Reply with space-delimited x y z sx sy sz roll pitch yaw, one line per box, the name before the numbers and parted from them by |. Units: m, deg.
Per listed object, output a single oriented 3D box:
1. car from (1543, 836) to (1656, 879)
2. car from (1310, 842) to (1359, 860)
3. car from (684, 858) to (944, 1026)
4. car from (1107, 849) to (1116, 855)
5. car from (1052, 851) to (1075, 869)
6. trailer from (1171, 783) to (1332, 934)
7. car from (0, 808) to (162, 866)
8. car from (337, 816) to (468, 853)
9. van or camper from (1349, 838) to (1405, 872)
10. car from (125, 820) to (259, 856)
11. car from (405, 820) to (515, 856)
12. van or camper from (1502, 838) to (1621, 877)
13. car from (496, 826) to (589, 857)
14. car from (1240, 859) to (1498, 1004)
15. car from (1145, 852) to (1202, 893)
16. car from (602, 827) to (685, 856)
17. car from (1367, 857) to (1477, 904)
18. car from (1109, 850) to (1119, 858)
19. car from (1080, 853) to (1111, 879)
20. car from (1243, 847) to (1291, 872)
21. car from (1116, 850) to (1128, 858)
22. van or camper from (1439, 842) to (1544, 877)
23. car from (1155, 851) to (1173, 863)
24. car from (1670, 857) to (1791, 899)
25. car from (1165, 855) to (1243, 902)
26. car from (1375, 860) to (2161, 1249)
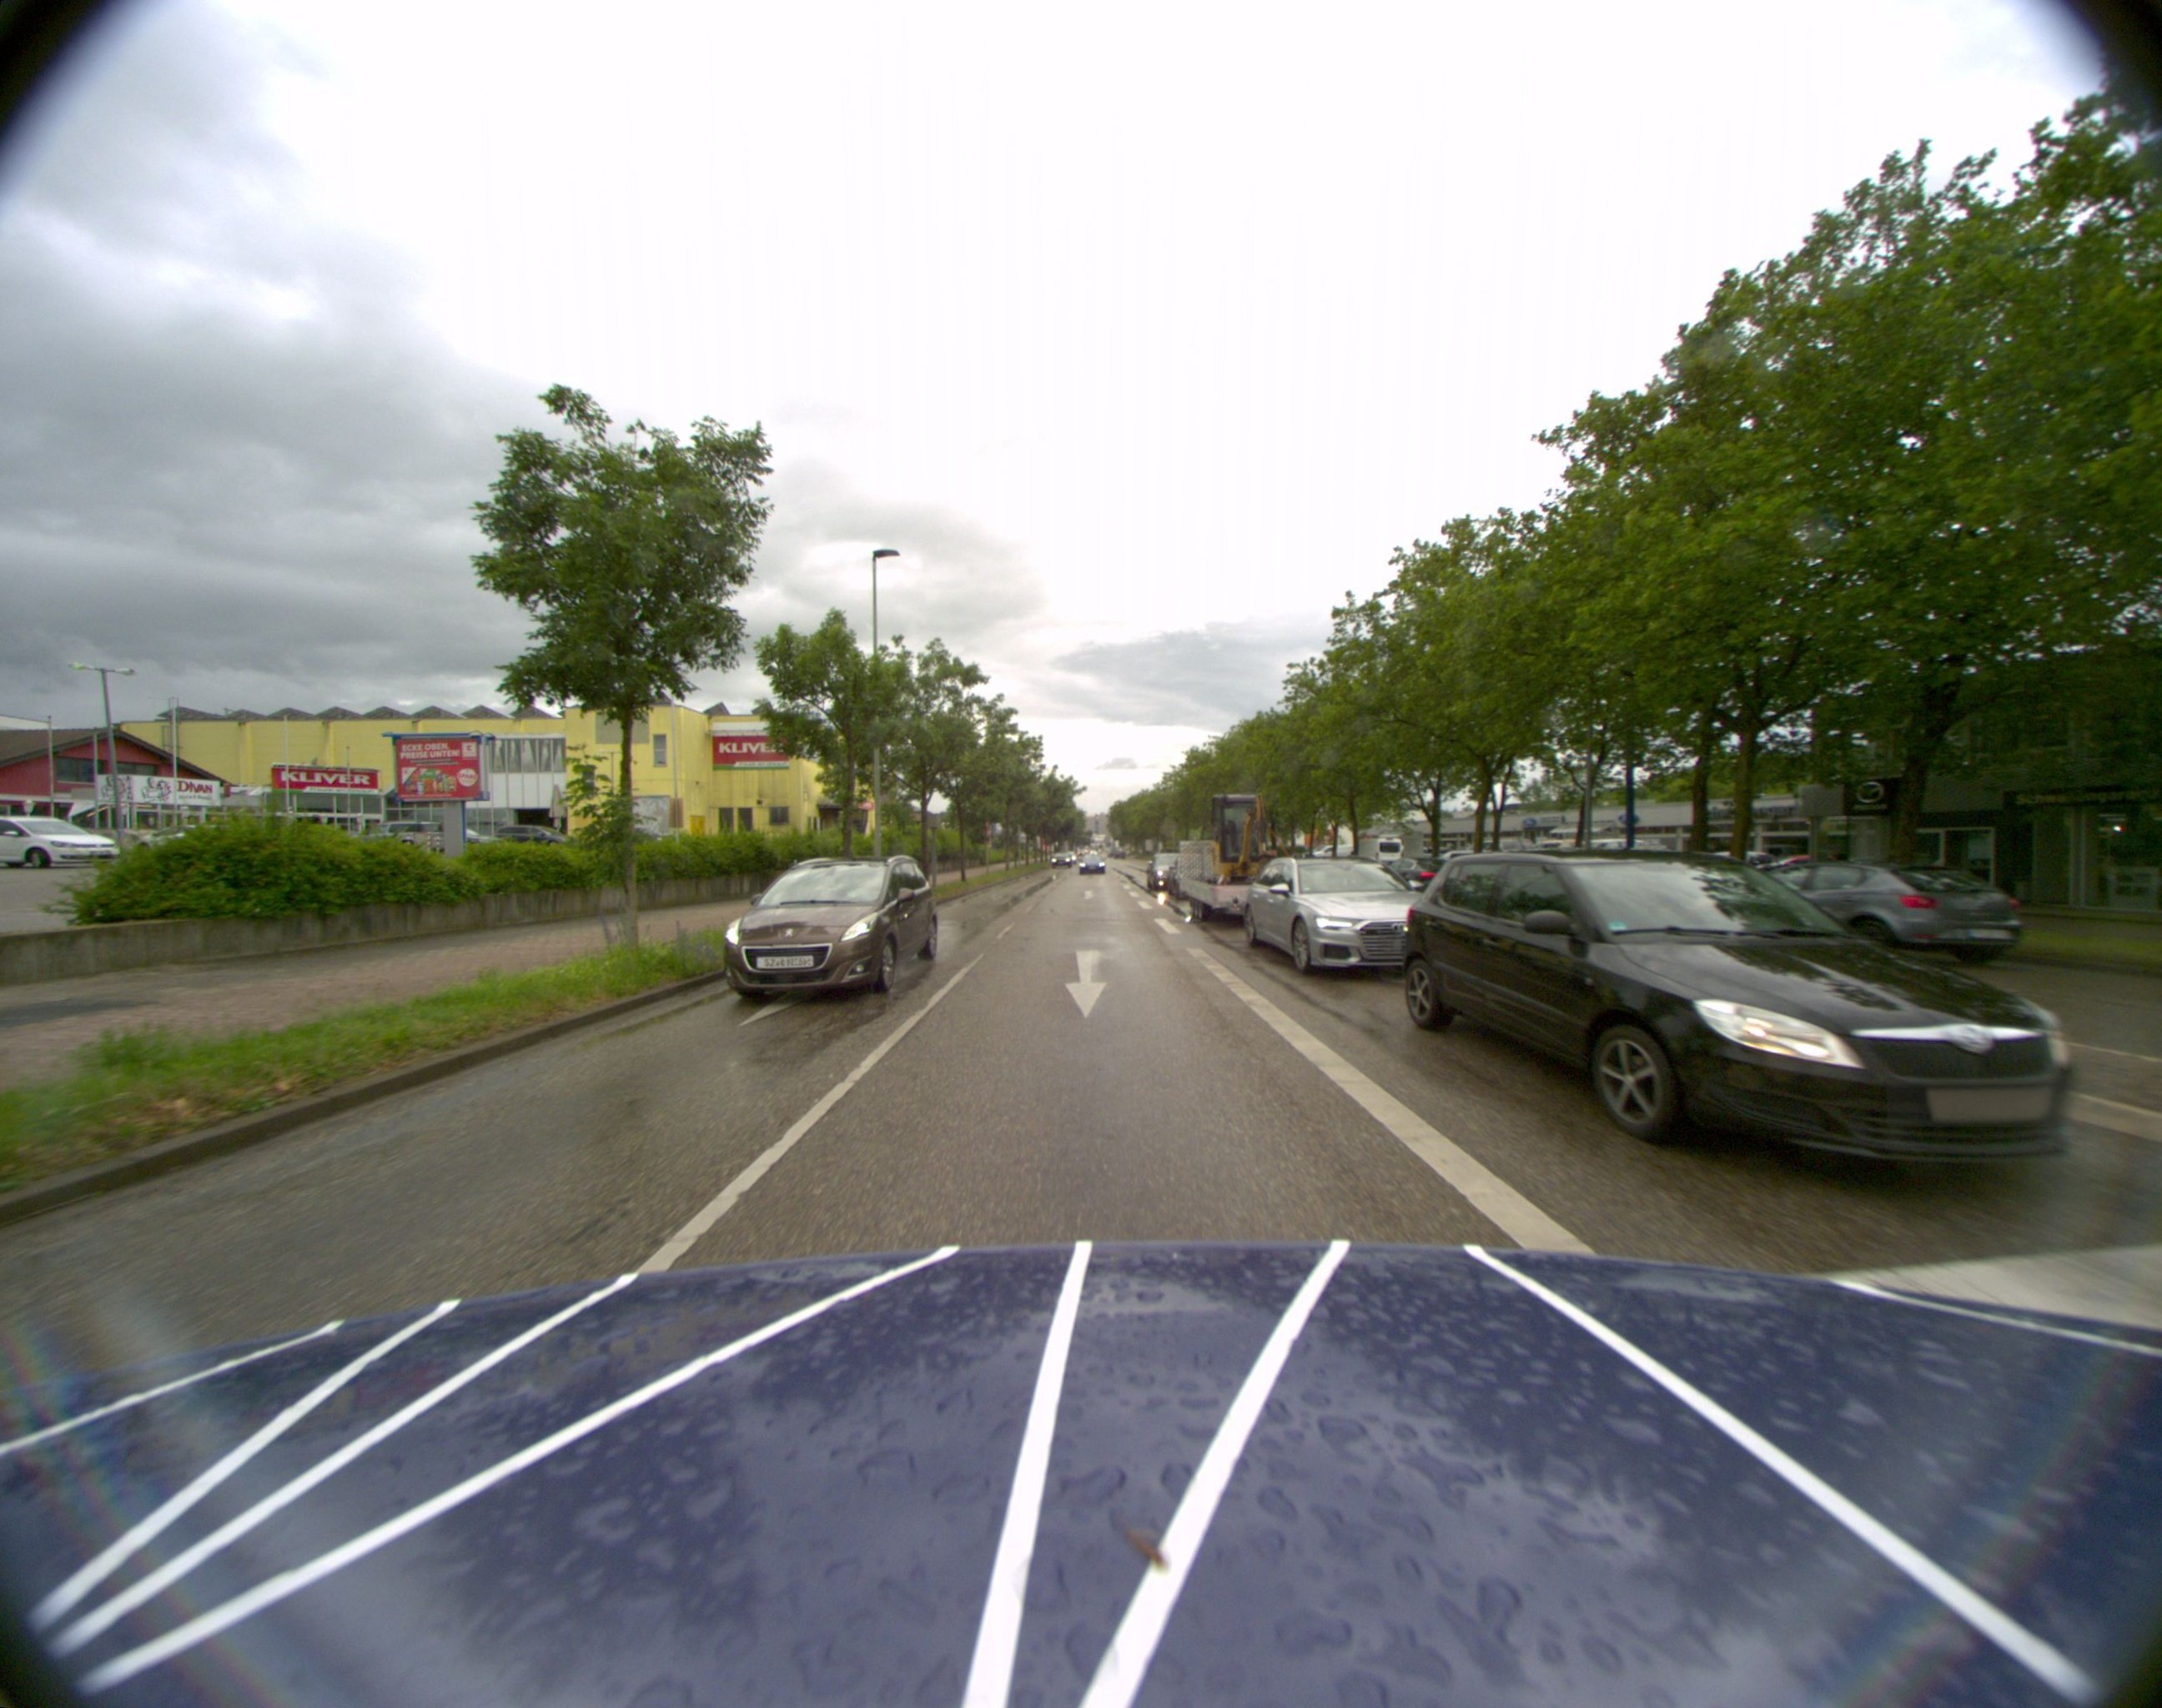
car | 23.137 0.140 33.920 4.473 1.805 1.996 -1 1 -22
car | 30.140 -0.352 90.503 5.058 2.002 2.129 -1 1 -1
car | -3.144 0.915 10.031 1.731 1.615 4.470 -2 1 1
car | 6.894 -0.519 172.599 1.999 1.421 4.684 0 1 0
car | -1.738 0.621 77.097 1.998 1.633 4.360 -2 1 2
trailer | 3.579 0.051 17.292 2.379 2.880 5.544 0 1 0
car | -33.622 -0.509 24.500 4.981 1.768 2.381 0 0 -1
car | -32.347 -0.914 36.319 4.382 1.729 2.000 0 0 -1
van or camper | 23.184 0.037 59.835 1.998 2.456 6.401 -2 1 1
car | -44.803 -0.777 38.364 4.382 1.729 2.000 0 0 -1
car | -32.203 -0.807 39.477 3.997 1.768 2.000 0 0 -1
van or camper | 23.519 0.120 37.209 5.381 1.760 2.100 -1 4 -22
car | -31.703 -0.702 44.835 3.997 1.768 2.000 0 0 -1
car | 3.522 0.832 10.369 1.770 1.450 4.780 0 1 1
car | 3.801 0.724 31.989 1.912 1.569 4.880 0 1 1
car | -27.281 -0.786 47.486 3.997 1.768 2.000 0 0 -1
car | 11.381 0.834 25.684 1.715 1.375 4.173 2 0 -1
car | 6.604 0.035 151.499 1.767 1.522 3.858 1 1 1
car | 1.047 0.812 54.178 1.998 1.633 4.360 -2 1 2
car | 11.508 0.328 47.332 1.715 1.456 4.083 0 1 -5
car | 7.076 -0.032 131.562 1.671 1.454 4.179 0 1 -4
van or camper | 22.344 0.257 41.361 5.306 1.811 2.262 -1 1 -25
car | 10.428 0.375 95.947 1.741 1.421 4.537 0 1 0
car | 24.931 0.872 29.139 4.474 1.442 1.995 -1 1 -28
car | 4.000 0.759 25.528 1.998 1.420 4.554 1 0 2
car | 3.573 0.806 5.021 1.718 1.481 4.077 0 0 1
